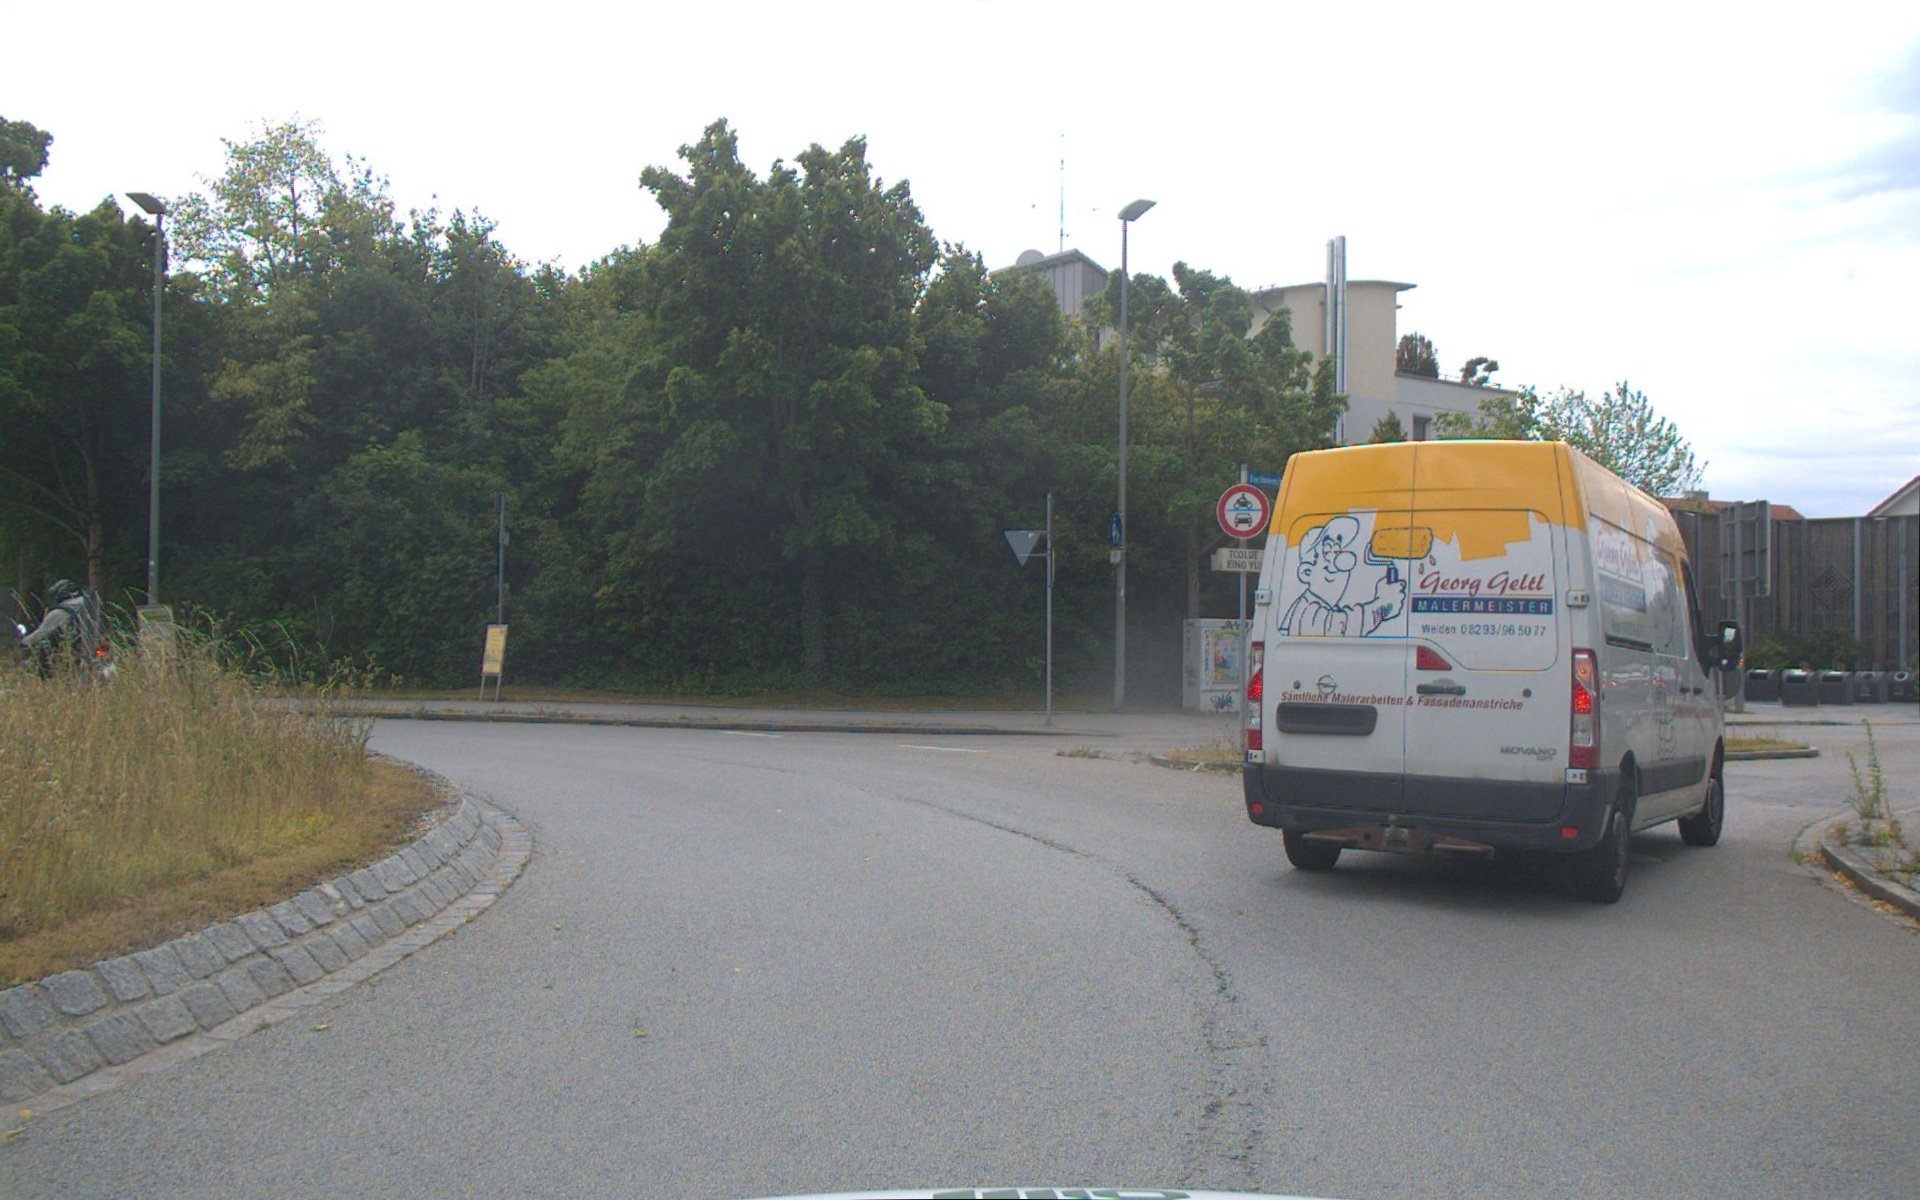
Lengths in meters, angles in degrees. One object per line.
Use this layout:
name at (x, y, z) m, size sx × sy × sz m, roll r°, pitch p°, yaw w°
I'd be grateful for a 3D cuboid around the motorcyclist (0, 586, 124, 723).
motorcyclist at (-11.187, 0.671, 20.524) m, size 1.162 × 1.652 × 0.864 m, roll 0°, pitch -1°, yaw 1°

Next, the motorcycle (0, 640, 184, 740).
motorcycle at (-11.142, 1.098, 20.547) m, size 2.558 × 1.178 × 0.899 m, roll 1°, pitch -1°, yaw 1°

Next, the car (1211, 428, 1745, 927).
car at (3.778, 0.458, 11.151) m, size 2.123 × 2.495 × 5.428 m, roll 1°, pitch -1°, yaw 32°
